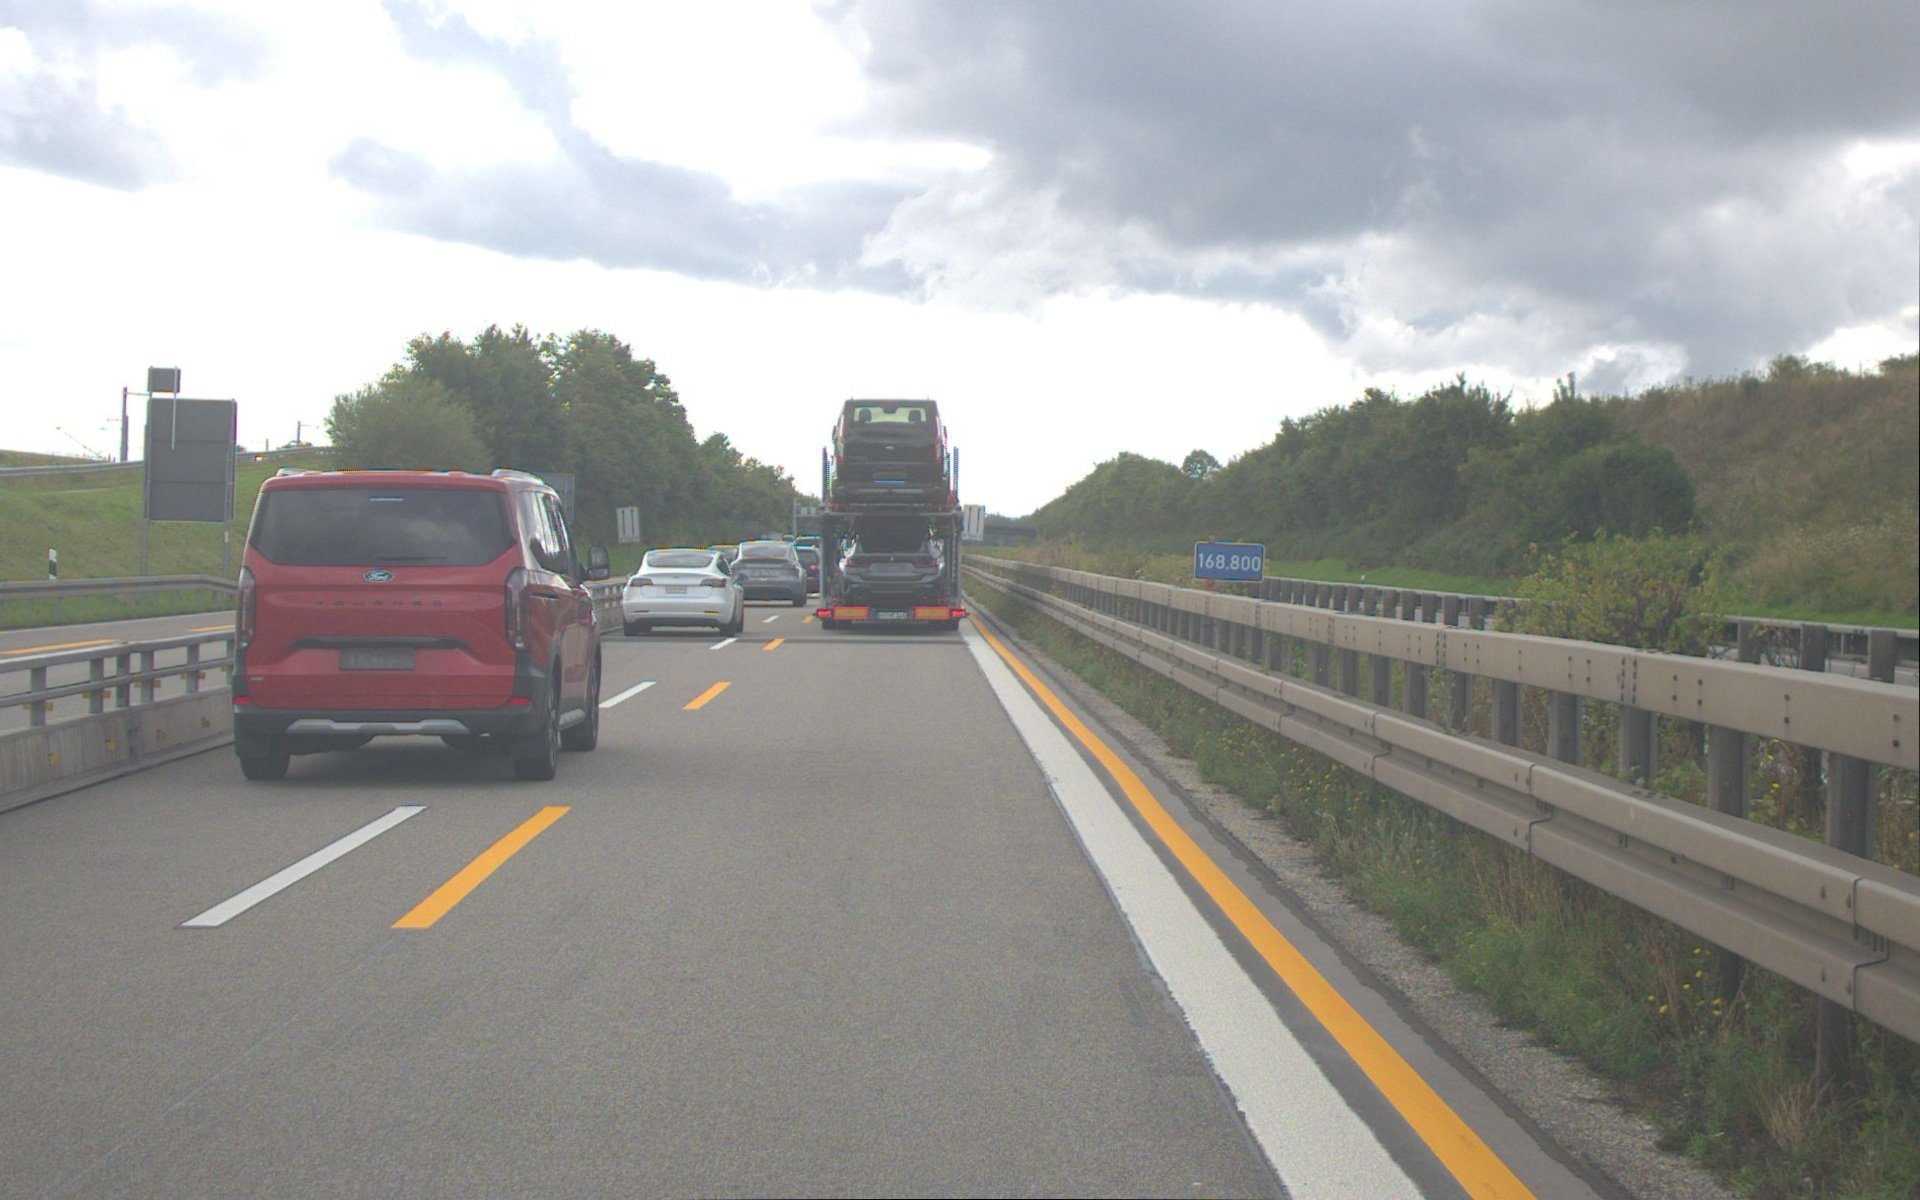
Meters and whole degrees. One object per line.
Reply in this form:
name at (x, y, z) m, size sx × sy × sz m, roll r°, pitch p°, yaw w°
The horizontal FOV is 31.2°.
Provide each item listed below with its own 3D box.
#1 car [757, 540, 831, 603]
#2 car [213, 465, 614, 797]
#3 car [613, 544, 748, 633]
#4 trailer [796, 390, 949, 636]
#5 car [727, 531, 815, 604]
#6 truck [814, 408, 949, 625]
car at (-4.727, -0.830, 98.312) m, size 2.031 × 1.751 × 4.578 m, roll 0°, pitch 1°, yaw -2°
car at (-3.532, 0.155, 23.066) m, size 2.031 × 2.007 × 4.578 m, roll 0°, pitch 1°, yaw -1°
car at (-4.666, -0.221, 57.941) m, size 2.031 × 1.426 × 4.578 m, roll 0°, pitch 1°, yaw -2°
trailer at (-1.494, -1.537, 63.250) m, size 2.515 × 4.091 × 11.114 m, roll 1°, pitch 1°, yaw 0°
car at (-4.645, -0.817, 85.097) m, size 2.031 × 1.751 × 4.578 m, roll 0°, pitch 1°, yaw -2°
truck at (-1.510, -1.631, 68.172) m, size 2.515 × 4.091 × 5.685 m, roll 1°, pitch 1°, yaw 0°
